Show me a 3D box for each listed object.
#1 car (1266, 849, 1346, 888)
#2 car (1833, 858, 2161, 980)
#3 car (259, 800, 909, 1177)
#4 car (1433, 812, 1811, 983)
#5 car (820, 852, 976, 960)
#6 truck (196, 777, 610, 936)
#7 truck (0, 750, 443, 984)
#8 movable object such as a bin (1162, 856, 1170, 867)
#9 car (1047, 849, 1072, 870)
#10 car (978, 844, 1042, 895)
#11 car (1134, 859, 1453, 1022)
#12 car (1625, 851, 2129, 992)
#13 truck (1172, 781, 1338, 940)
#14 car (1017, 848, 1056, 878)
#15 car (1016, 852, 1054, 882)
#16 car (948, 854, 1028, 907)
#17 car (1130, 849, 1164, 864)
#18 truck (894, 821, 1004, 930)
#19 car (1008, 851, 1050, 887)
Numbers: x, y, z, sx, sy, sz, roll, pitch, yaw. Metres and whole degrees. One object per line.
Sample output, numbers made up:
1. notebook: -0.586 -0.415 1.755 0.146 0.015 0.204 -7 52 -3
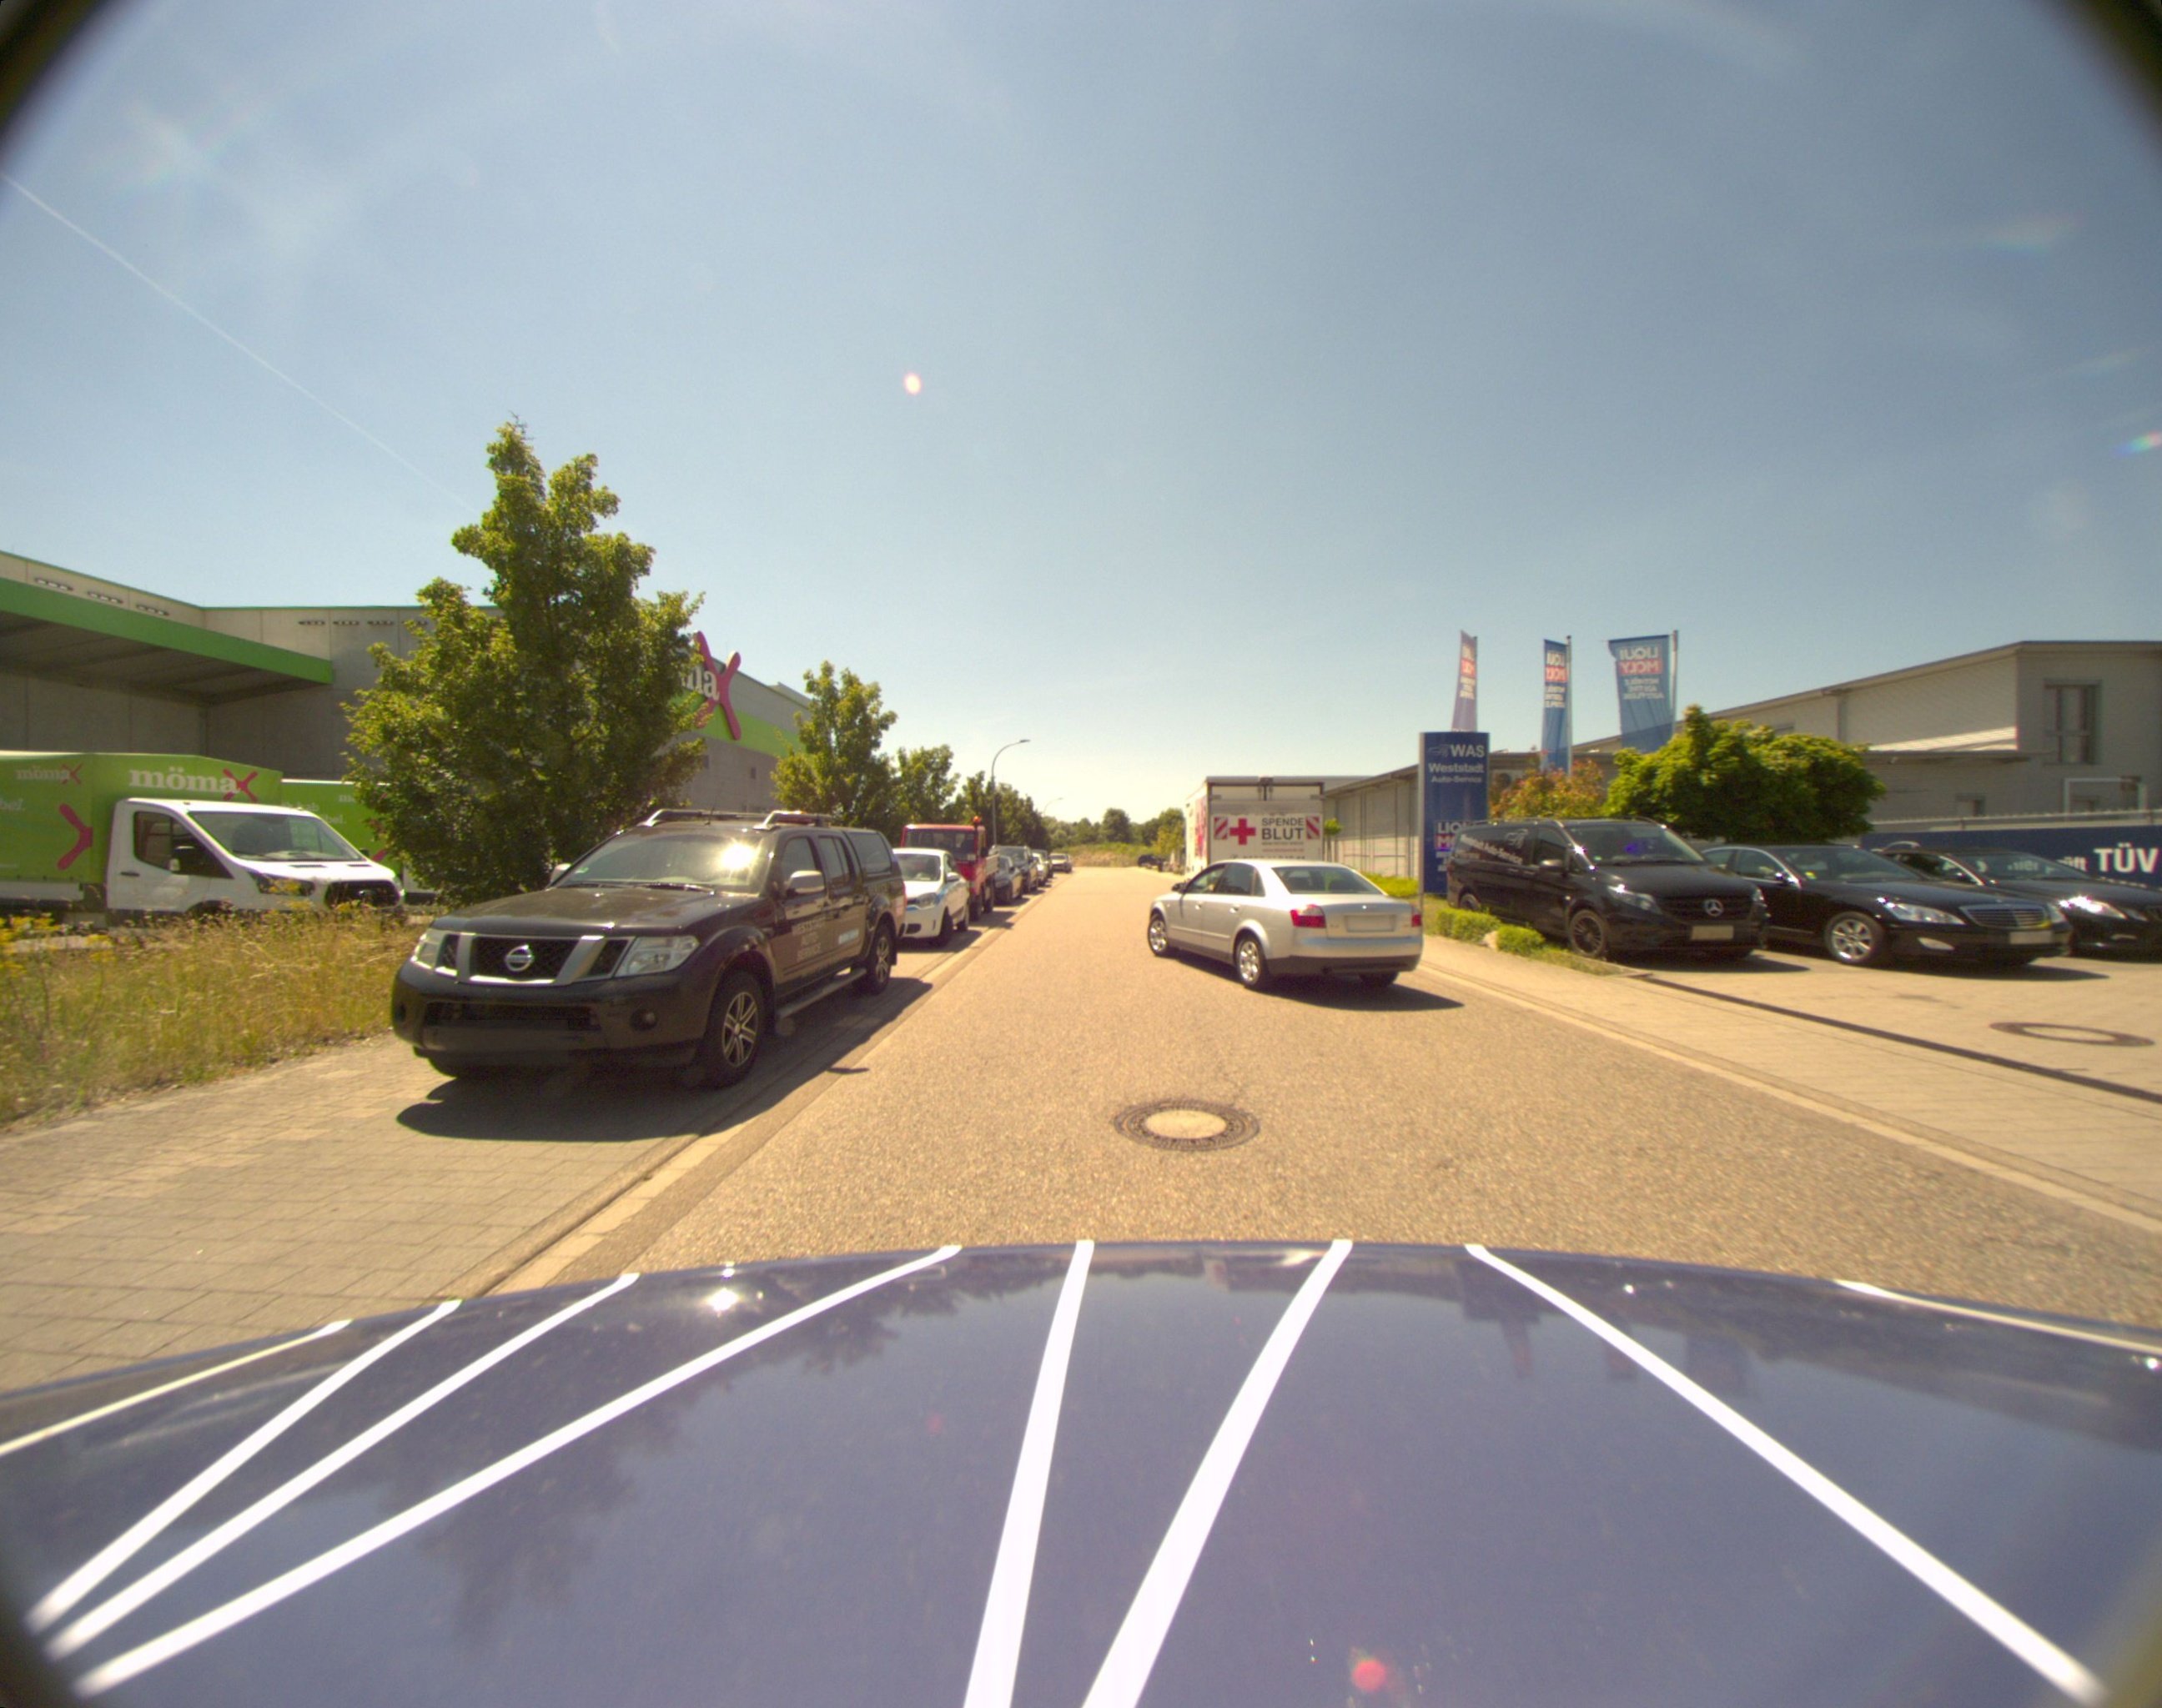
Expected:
1. car: 8.869 0.555 30.106 2.748 1.509 1.535 0 1 0
2. car: 12.949 0.741 10.418 1.593 1.329 3.763 0 1 1
3. car: -3.114 0.658 6.428 1.998 1.874 5.155 1 1 2
4. car: 7.426 0.482 11.344 1.998 1.945 5.218 -1 1 1
5. car: -2.999 0.770 13.280 1.743 1.522 3.999 2 1 0
6. truck: -12.941 0.048 14.880 5.918 2.855 2.306 0 1 -2
7. truck: -12.898 0.148 10.652 5.836 2.896 2.414 0 1 0
8. movable object such as a bin: 7.378 0.629 65.886 0.572 0.944 0.512 -1 0 -4
9. car: -1.735 0.459 63.252 1.809 1.626 4.458 1 0 1
10. car: -2.599 0.545 28.875 1.815 1.715 4.774 1 0 2
11. car: 2.237 0.847 9.435 1.790 1.414 4.407 2 1 -15
12. car: 10.067 0.703 10.366 1.936 1.408 4.769 -2 0 1
13. truck: 3.576 0.083 17.188 2.367 2.843 6.415 2 1 2
14. car: -2.656 0.552 46.383 1.953 1.691 4.545 1 0 2
15. car: -2.361 0.638 40.076 1.809 1.474 4.772 1 0 -2
16. car: -2.722 0.730 23.294 1.702 1.375 4.837 2 1 2
17. car: 8.693 0.356 100.573 4.172 1.649 1.781 -5 1 1
18. truck: -2.917 0.418 17.671 1.683 2.169 4.390 2 1 1
19. car: -2.286 0.636 34.432 1.718 1.474 4.772 1 0 -2
